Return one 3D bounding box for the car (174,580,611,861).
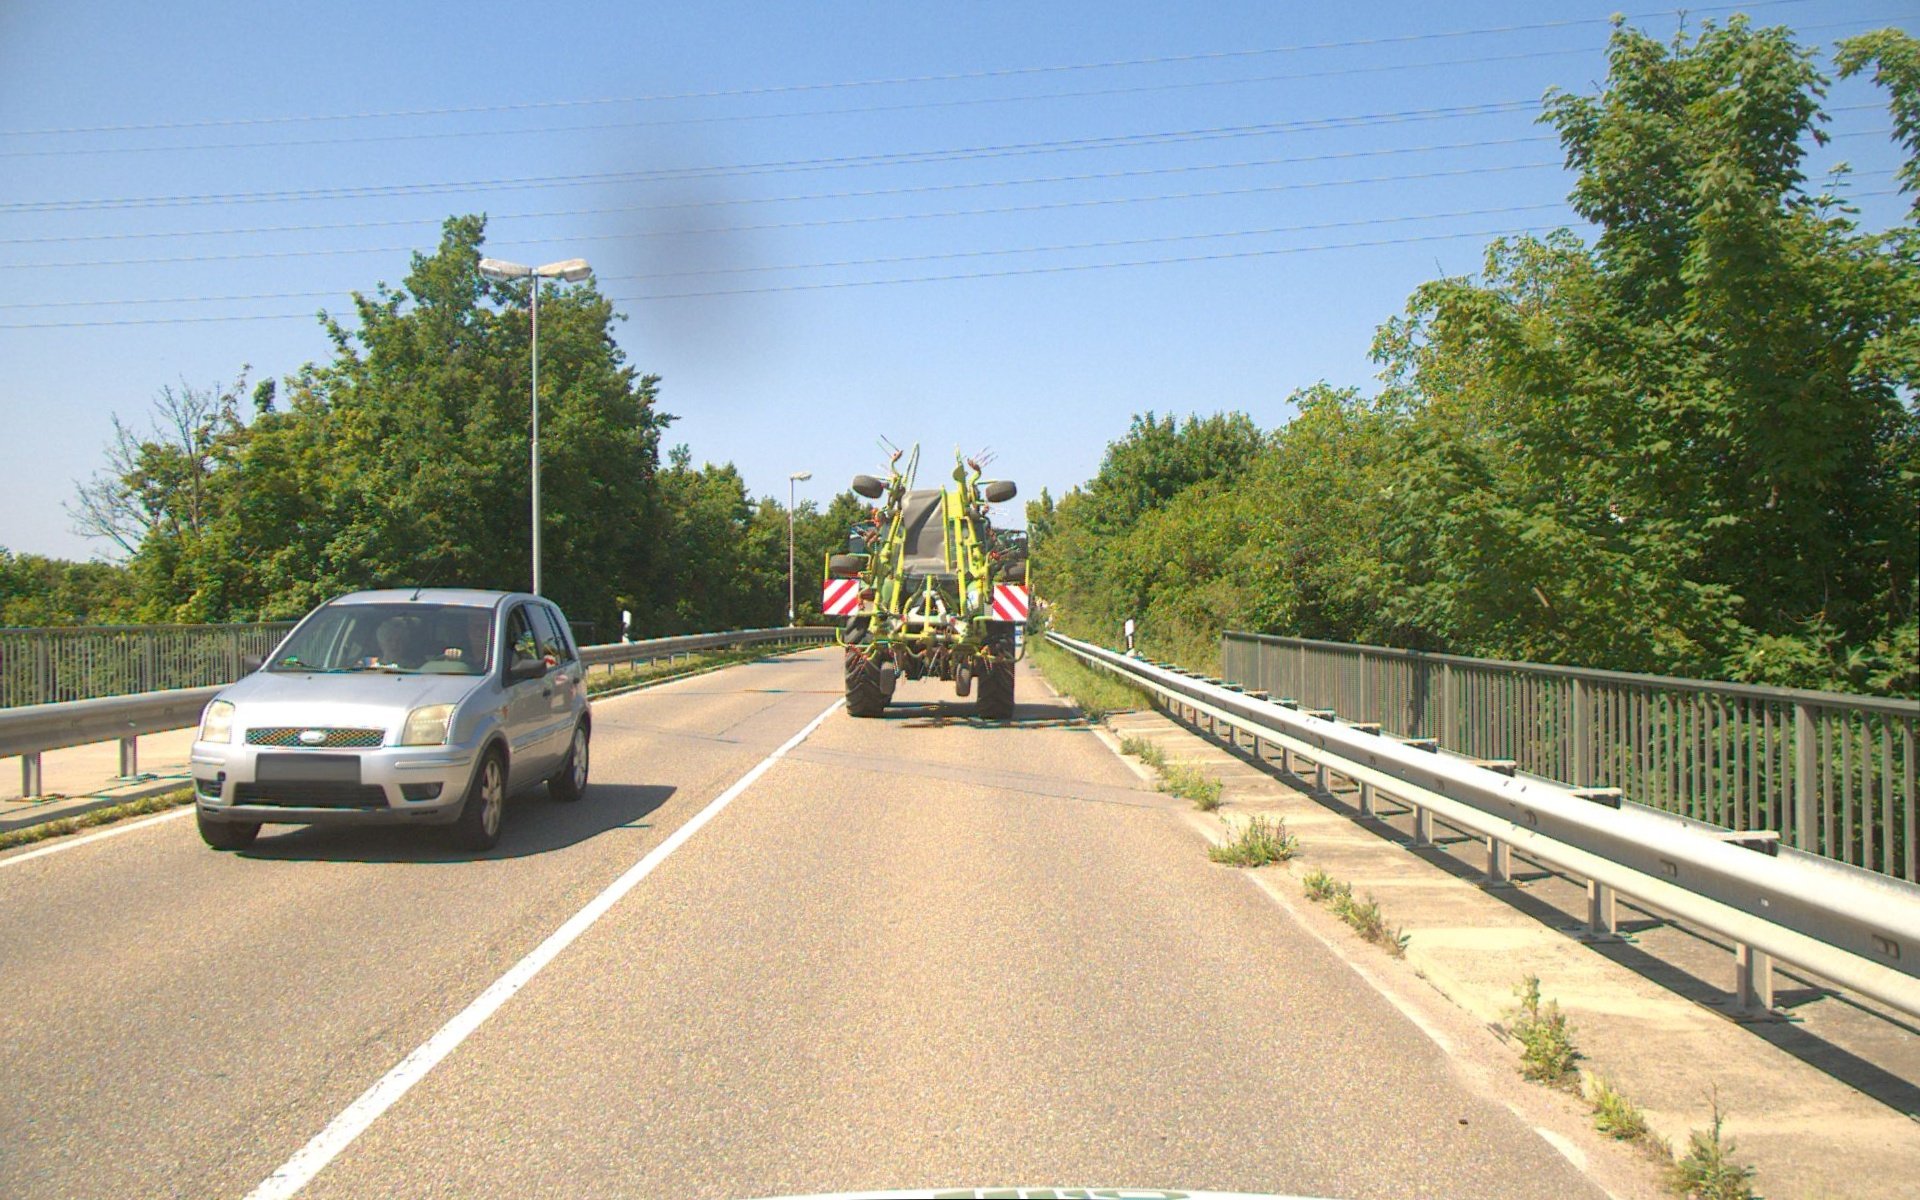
[{"bbox_3d":[-3.523,0.682,10.979,1.633,1.543,3.665,0,-1,0],"label":"car"}]

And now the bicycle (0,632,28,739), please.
[{"bbox_3d":[-9.581,0.840,15.415,0.664,1.019,2.117,0,1,-3],"label":"bicycle"}]

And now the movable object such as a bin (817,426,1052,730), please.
[{"bbox_3d":[-0.407,-0.262,22.098,2.700,3.504,5.667,1,0,-2],"label":"movable object such as a bin"}]
